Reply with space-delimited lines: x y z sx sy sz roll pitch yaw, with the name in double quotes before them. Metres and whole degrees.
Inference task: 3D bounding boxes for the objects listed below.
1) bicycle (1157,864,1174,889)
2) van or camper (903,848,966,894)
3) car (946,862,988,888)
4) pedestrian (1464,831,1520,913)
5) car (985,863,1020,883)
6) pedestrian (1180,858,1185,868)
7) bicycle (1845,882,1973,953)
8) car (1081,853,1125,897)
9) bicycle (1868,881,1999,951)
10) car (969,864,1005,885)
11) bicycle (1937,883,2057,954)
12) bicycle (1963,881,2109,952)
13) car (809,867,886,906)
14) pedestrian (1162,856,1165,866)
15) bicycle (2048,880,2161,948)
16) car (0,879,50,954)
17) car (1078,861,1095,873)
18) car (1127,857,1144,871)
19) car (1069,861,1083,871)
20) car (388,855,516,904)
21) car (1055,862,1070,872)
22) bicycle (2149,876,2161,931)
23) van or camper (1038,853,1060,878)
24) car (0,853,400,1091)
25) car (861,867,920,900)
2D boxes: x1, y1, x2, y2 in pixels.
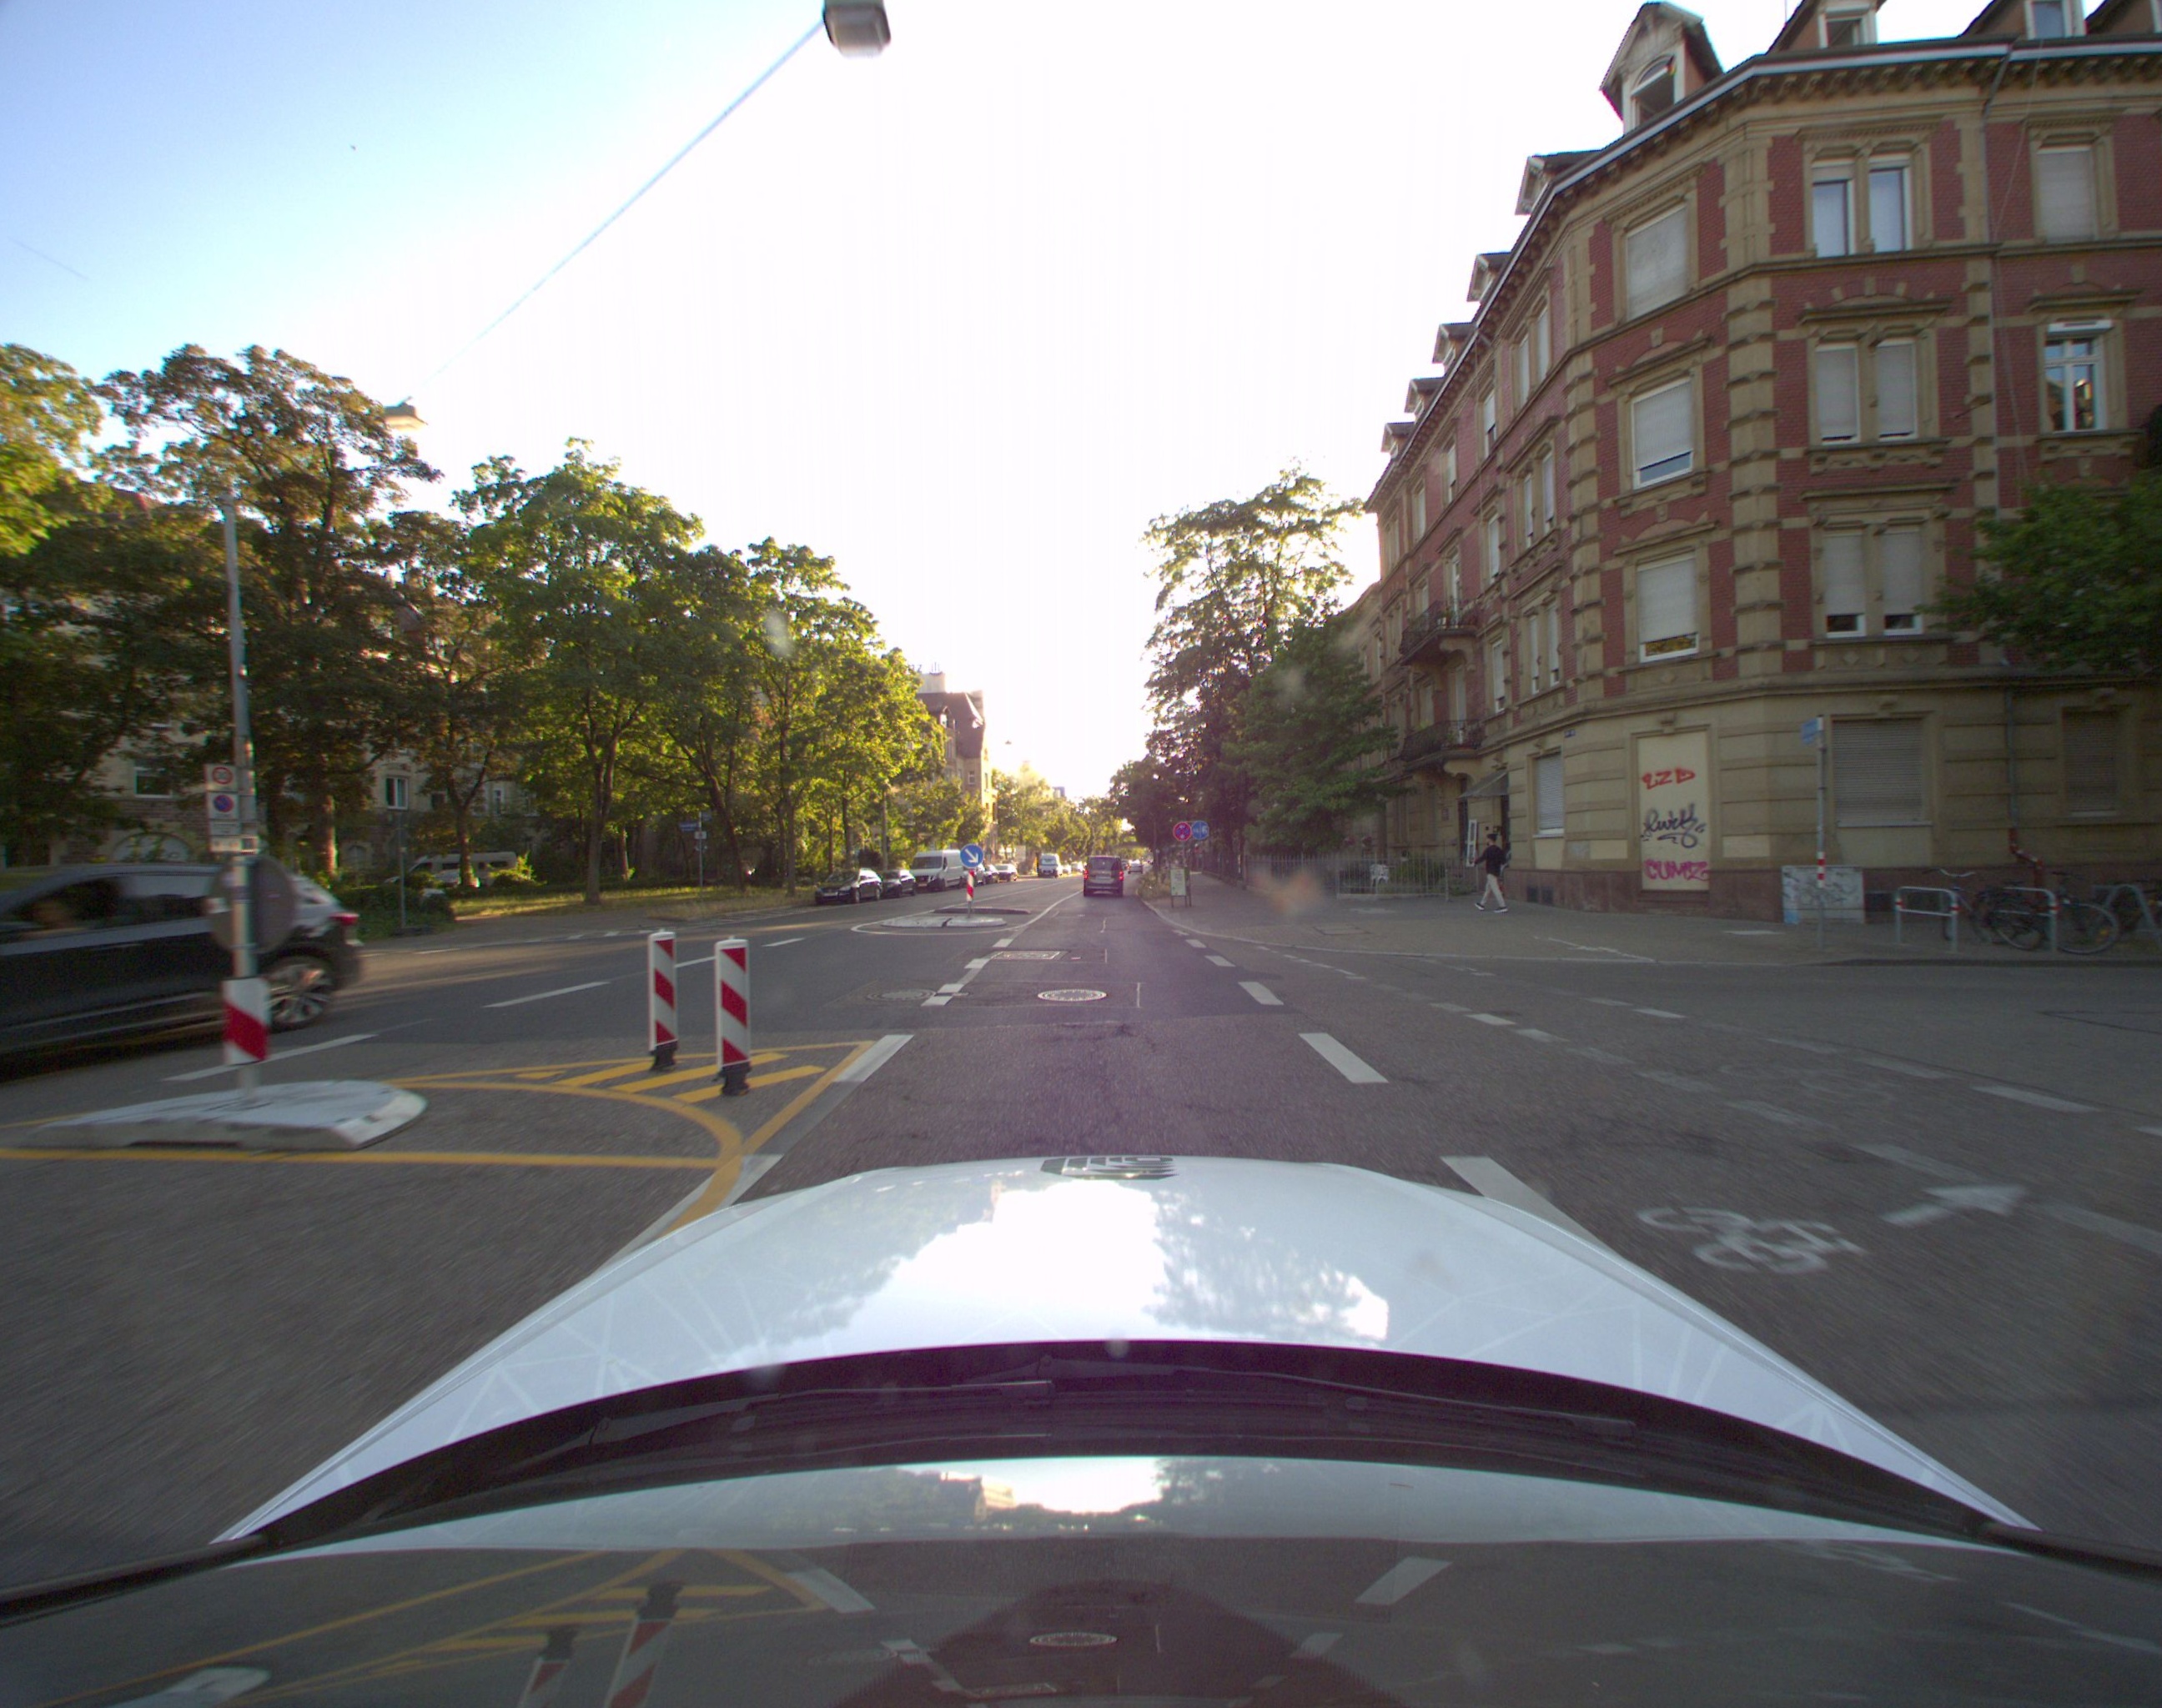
"bicycle" 4.042 1.060 39.125 0.644 1.167 1.931 0 0 2
"van or camper" -8.657 0.956 48.725 2.081 2.468 6.313 -3 0 5
"car" -7.813 1.408 56.150 1.857 1.645 4.577 -2 0 5
"pedestrian" 9.392 0.410 18.632 0.743 1.778 0.832 -5 -1 1
"car" -6.472 1.539 67.795 1.984 1.483 4.836 -2 0 5
"pedestrian" 16.234 1.438 130.187 0.641 1.633 0.657 0 -1 6
"bicycle" 11.686 0.869 11.553 0.290 0.817 1.498 0 3 2
"car" 1.114 0.953 38.895 1.879 1.925 3.843 -2 0 4
"bicycle" 12.050 0.847 11.568 0.290 0.817 1.498 0 3 2
"car" -7.058 1.499 61.609 1.728 1.445 4.631 -2 0 5
"bicycle" 12.873 0.878 11.497 0.292 0.817 1.503 1 3 13
"bicycle" 13.332 0.846 11.429 0.293 0.817 1.498 0 3 2
"car" -10.037 1.364 35.338 1.615 1.506 4.551 -2 0 6
"pedestrian" 15.231 1.243 150.560 0.504 1.889 0.543 0 -1 -9
"bicycle" 14.865 0.836 11.641 0.293 0.817 1.498 0 3 2
"car" -28.682 1.614 19.836 1.986 1.882 4.001 0 0 1
"car" 0.792 1.690 106.605 1.757 1.402 4.552 -2 0 6
"car" 6.770 1.271 101.398 1.985 1.634 4.004 -1 0 4
"car" -0.706 1.687 117.793 1.689 1.451 4.005 0 0 5
"car" -35.153 1.384 45.674 2.244 2.485 5.267 -2 0 39
"car" -2.332 1.652 103.067 1.529 1.248 3.618 0 0 5
"bicycle" 16.283 0.774 11.558 0.293 0.817 1.498 0 3 2
"van or camper" -3.414 1.206 88.590 1.986 2.669 6.040 0 0 1
"car" -8.626 0.914 6.663 1.867 1.706 4.575 -4 -1 6
"car" -9.501 1.436 40.901 1.621 1.429 4.248 -3 0 5
